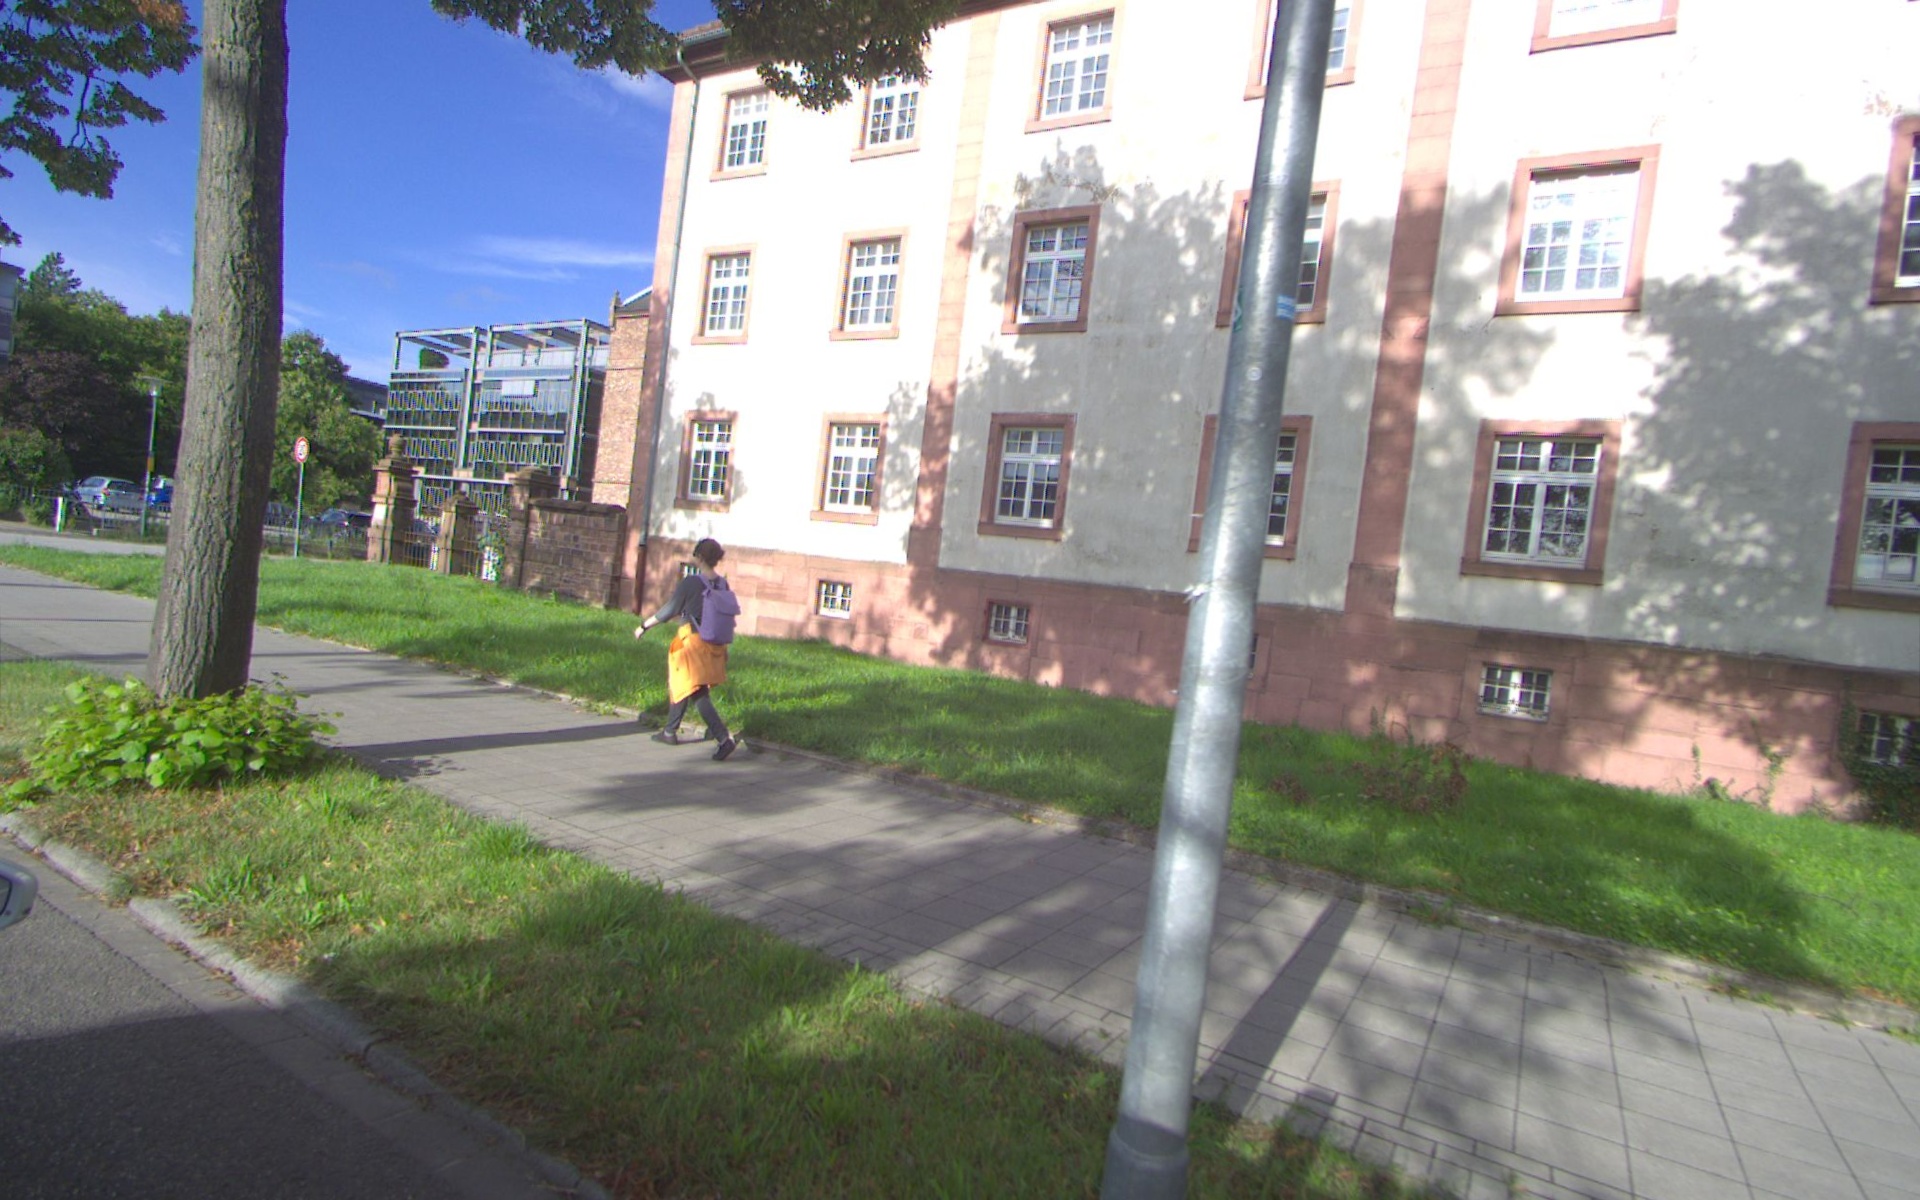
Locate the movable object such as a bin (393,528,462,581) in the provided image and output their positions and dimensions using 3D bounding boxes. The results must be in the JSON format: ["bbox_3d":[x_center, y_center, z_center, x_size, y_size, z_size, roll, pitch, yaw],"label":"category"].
[{"bbox_3d":[-14.628,-1.241,27.654,1.074,1.246,1.192,7,0,28],"label":"movable object such as a bin"}]

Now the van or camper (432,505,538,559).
[{"bbox_3d":[-29.505,-4.191,62.663,2.552,2.589,5.245,7,1,30],"label":"van or camper"}]

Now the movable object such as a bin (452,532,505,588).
[{"bbox_3d":[-13.535,-1.121,28.288,0.926,1.441,0.831,7,1,28],"label":"movable object such as a bin"}]

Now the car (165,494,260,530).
[{"bbox_3d":[-43.925,-5.143,59.199,1.966,1.505,3.991,7,1,30],"label":"car"}]

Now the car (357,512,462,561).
[{"bbox_3d":[-25.595,-2.961,46.725,4.718,1.766,1.853,7,2,27],"label":"car"}]

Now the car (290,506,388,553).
[{"bbox_3d":[-27.514,-3.138,44.507,4.531,1.610,1.850,7,2,32],"label":"car"}]

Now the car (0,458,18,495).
[{"bbox_3d":[-46.290,-5.970,45.939,1.968,1.642,4.448,8,1,35],"label":"car"}]

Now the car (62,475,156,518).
[{"bbox_3d":[-39.208,-4.778,46.334,3.931,1.460,1.996,7,1,29],"label":"car"}]

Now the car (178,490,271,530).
[{"bbox_3d":[-36.623,-4.491,50.105,3.928,1.460,1.998,7,1,24],"label":"car"}]

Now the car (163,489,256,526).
[{"bbox_3d":[-45.611,-5.597,61.222,1.966,1.616,3.991,7,1,30],"label":"car"}]

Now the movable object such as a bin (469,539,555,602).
[{"bbox_3d":[-12.336,-0.792,27.721,1.517,1.477,1.416,7,0,28],"label":"movable object such as a bin"}]

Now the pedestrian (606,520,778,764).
[{"bbox_3d":[-1.944,0.279,7.328,0.756,1.612,0.814,7,3,30],"label":"pedestrian"}]

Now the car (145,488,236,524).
[{"bbox_3d":[-47.619,-5.803,62.342,1.966,1.572,3.991,7,1,30],"label":"car"}]
